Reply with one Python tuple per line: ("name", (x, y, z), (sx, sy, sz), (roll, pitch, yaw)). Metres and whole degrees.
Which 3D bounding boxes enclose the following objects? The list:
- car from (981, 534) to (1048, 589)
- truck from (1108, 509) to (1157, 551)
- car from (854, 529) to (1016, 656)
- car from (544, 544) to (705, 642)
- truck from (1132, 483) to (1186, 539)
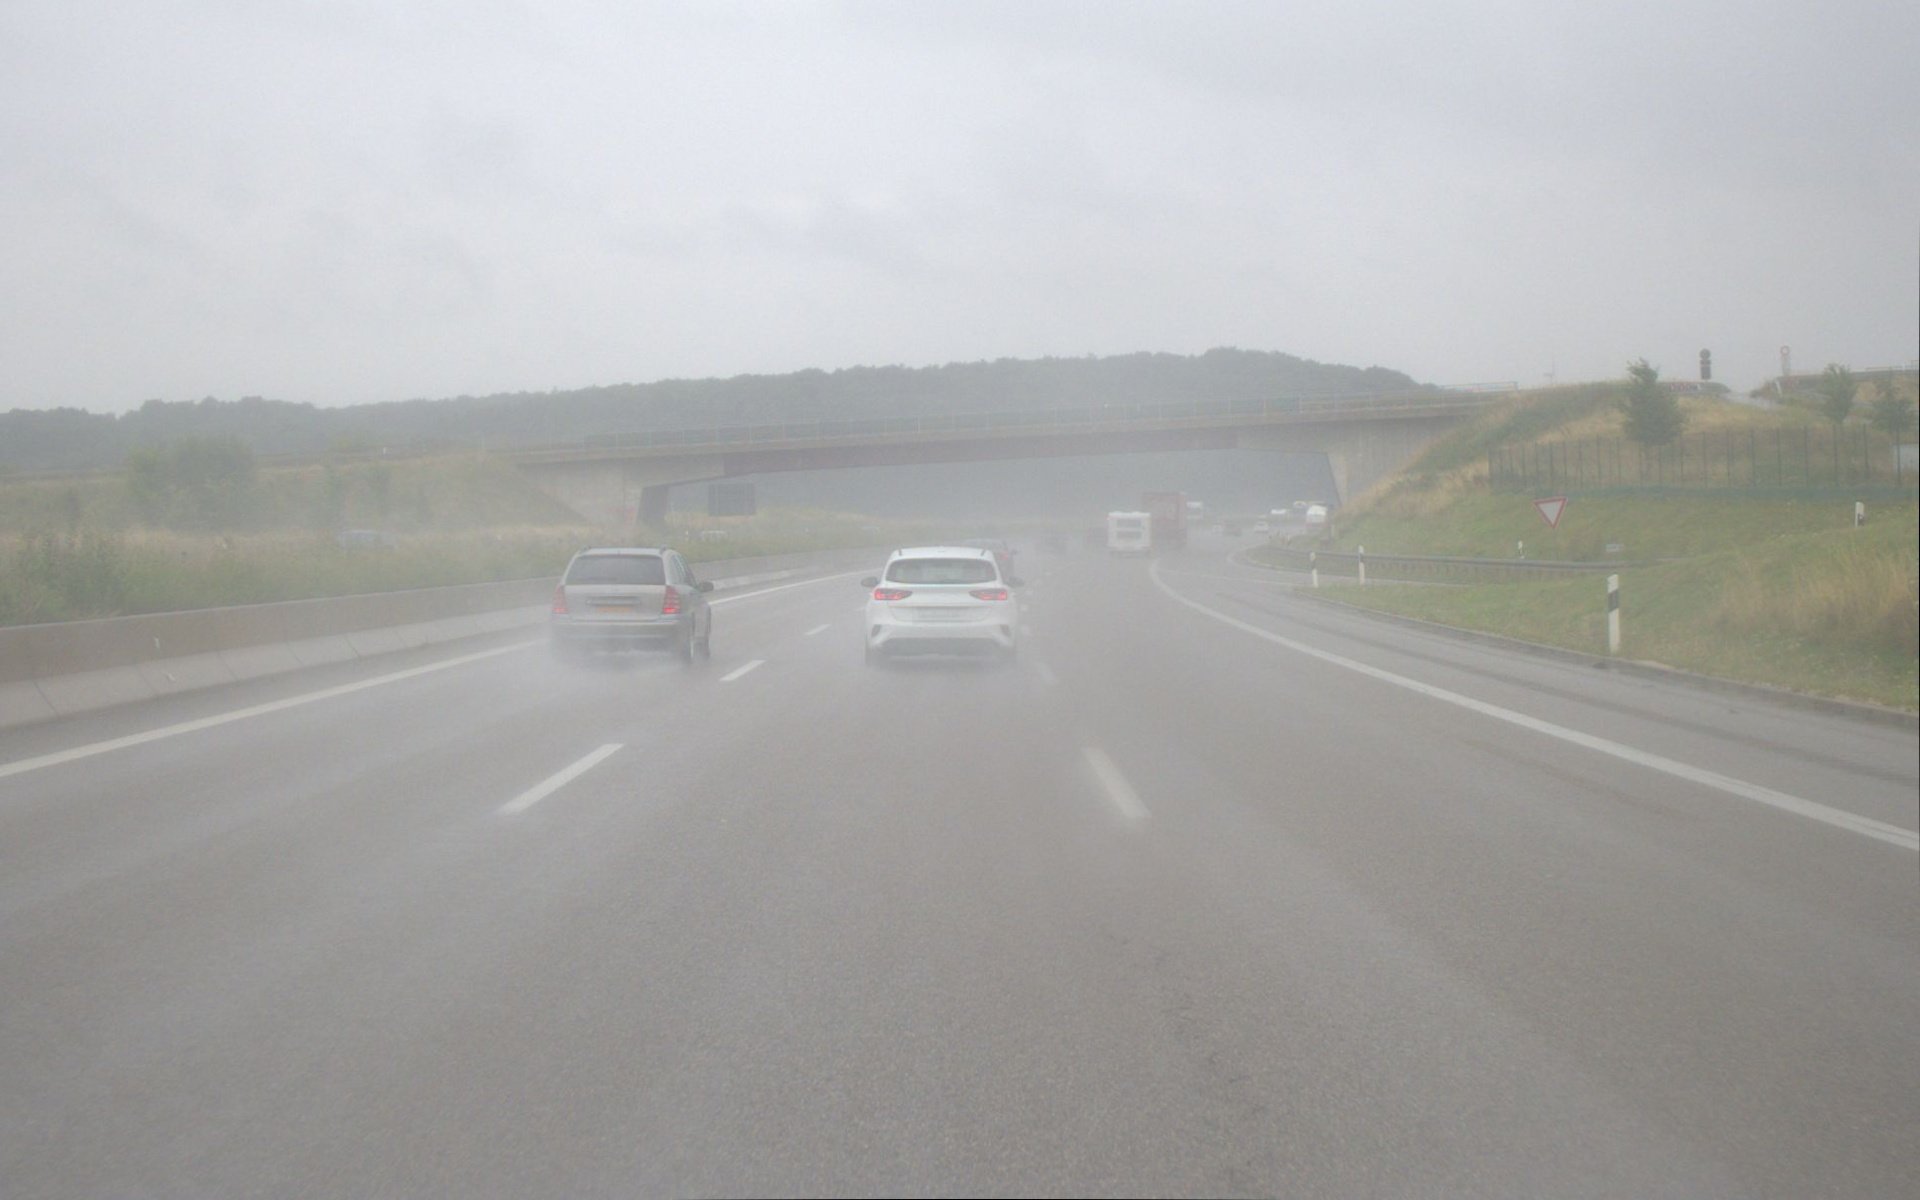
("car", (1.638, -1.191, 104.355), (1.993, 1.612, 4.000), (0, 1, 0))
("truck", (9.427, -3.822, 187.436), (2.408, 2.244, 4.692), (0, 1, 6))
("car", (-0.297, -0.116, 41.712), (1.867, 1.458, 4.000), (0, 1, 0))
("car", (-4.173, -0.097, 43.270), (1.823, 1.152, 4.213), (1, 0, -3))
("truck", (13.969, -6.287, 241.885), (3.527, 3.730, 11.426), (1, 2, 2))
